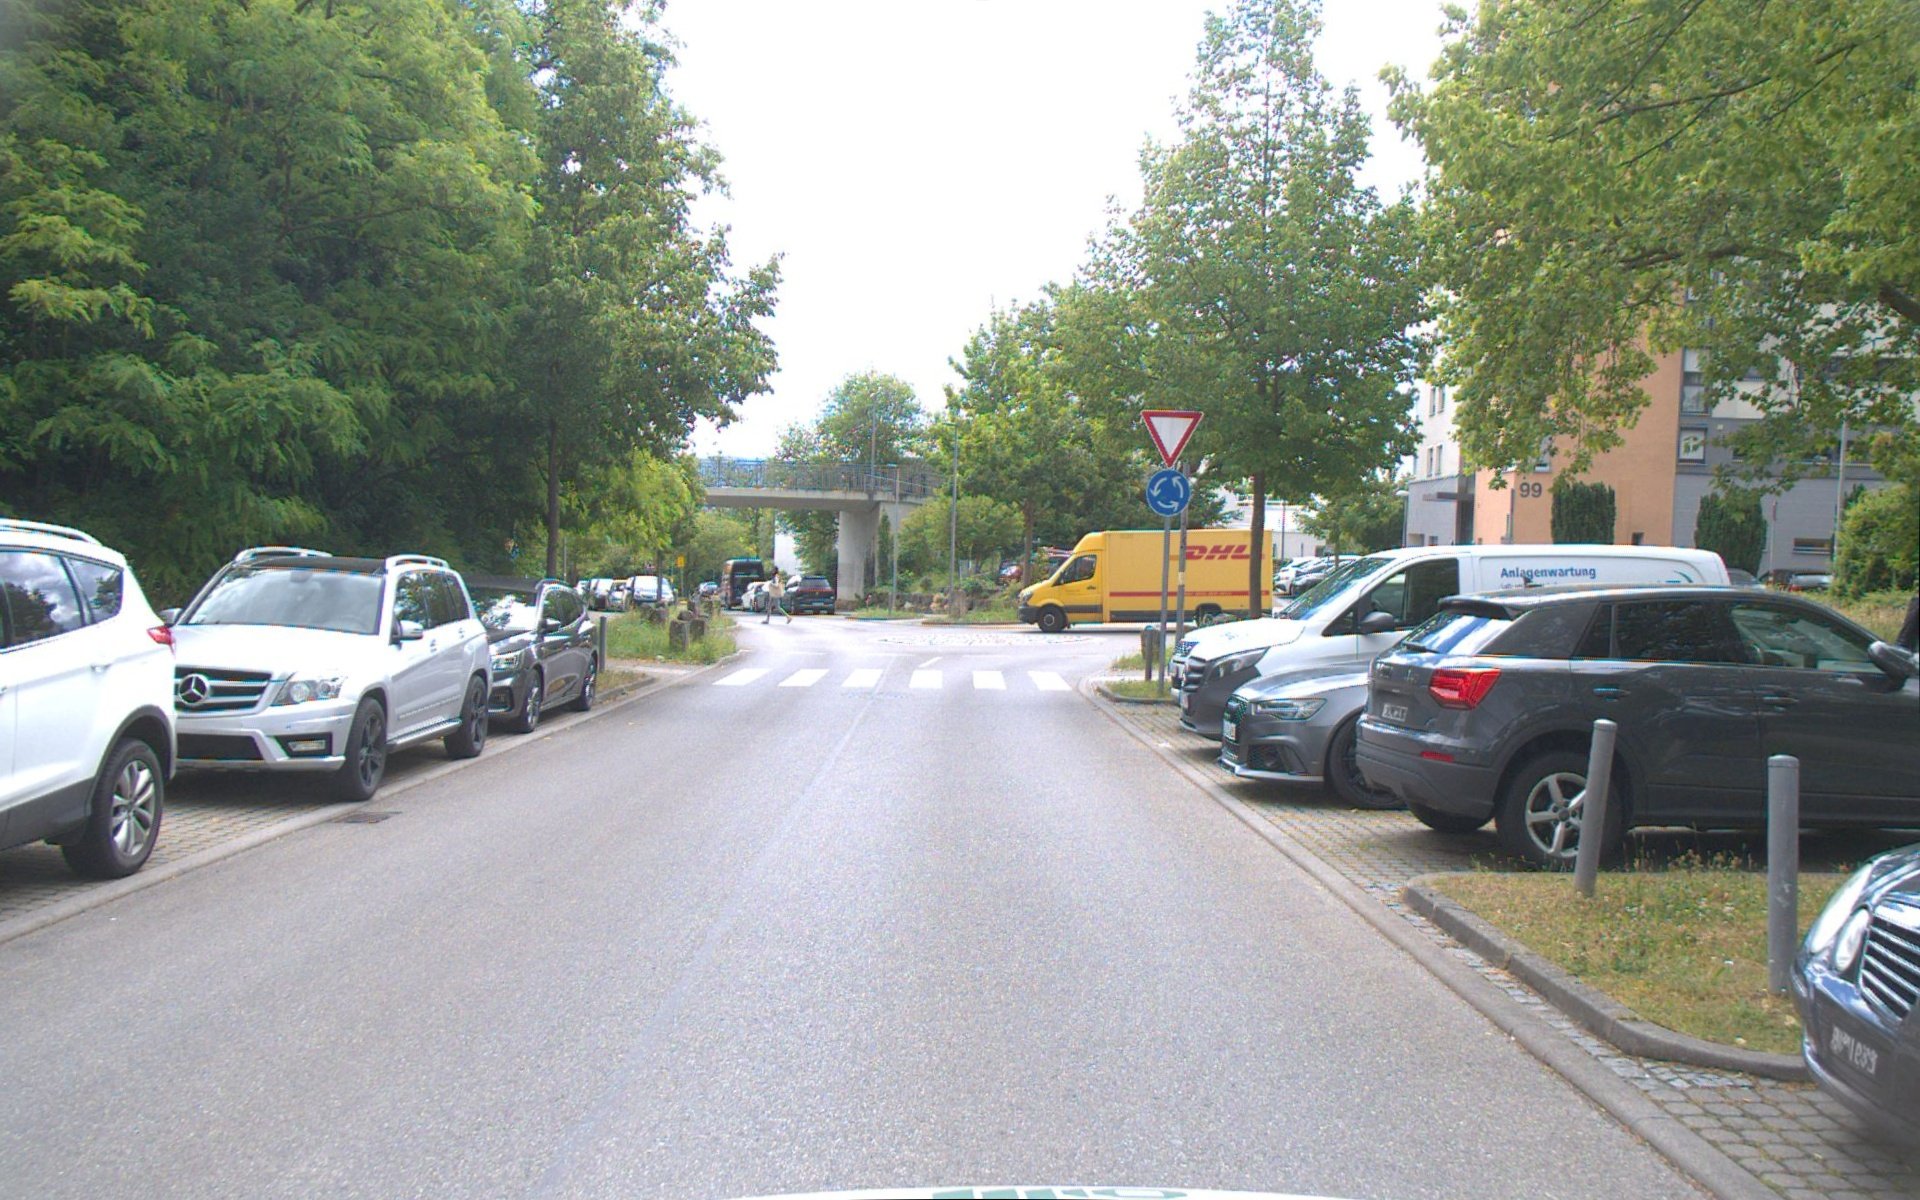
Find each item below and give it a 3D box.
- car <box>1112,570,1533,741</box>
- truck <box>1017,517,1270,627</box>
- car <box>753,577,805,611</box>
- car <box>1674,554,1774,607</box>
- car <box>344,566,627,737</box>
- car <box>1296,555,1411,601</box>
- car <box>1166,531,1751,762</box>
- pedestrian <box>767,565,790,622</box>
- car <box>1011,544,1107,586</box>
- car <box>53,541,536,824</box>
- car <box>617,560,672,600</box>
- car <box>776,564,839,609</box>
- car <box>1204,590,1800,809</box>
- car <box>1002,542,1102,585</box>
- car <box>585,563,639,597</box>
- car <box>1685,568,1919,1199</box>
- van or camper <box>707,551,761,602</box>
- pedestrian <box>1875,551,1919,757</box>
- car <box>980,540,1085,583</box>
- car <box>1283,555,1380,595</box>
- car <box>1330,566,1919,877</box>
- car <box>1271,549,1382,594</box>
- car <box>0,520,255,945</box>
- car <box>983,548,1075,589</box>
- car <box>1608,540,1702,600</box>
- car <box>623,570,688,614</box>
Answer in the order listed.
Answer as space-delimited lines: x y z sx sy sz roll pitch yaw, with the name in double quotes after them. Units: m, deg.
3.770 0.553 17.677 4.066 1.630 1.739 1 1 -2 "car"
5.042 -0.718 45.279 6.656 2.749 2.476 -1 -1 9 "truck"
-8.466 -0.296 77.197 1.672 1.523 4.099 0 0 -17 "car"
22.561 -0.590 48.977 1.601 1.507 3.780 0 1 7 "car"
-4.916 0.441 17.789 1.655 1.490 4.457 4 1 0 "car"
14.258 -0.811 60.141 3.955 1.544 1.757 2 1 10 "car"
4.326 0.370 14.842 4.677 1.863 1.842 -1 1 -2 "car"
-5.767 -0.214 52.568 0.645 1.751 0.739 1 1 -4 "pedestrian"
4.129 -1.481 69.244 3.904 1.641 1.945 2 1 3 "car"
-4.736 0.464 12.579 1.762 1.643 4.479 4 1 0 "car"
-12.634 -0.812 66.092 1.854 1.485 3.532 1 1 -16 "car"
-6.570 -0.537 70.935 1.785 1.708 4.347 0 -3 -18 "car"
3.800 0.665 12.083 3.746 1.395 1.843 -1 1 -1 "car"
3.426 -1.352 61.154 3.573 1.464 1.686 2 1 5 "car"
-16.334 -0.922 77.566 1.857 1.535 4.426 1 0 -20 "car"
4.391 0.692 3.968 4.485 1.518 1.950 0 0 -5 "car"
-12.047 -1.206 87.807 1.962 2.567 5.445 -2 0 -17 "van or camper"
8.164 0.443 13.796 0.675 1.685 0.600 1 1 -1 "pedestrian"
3.162 -1.674 71.810 4.448 1.697 1.945 2 1 3 "car"
15.648 -1.066 69.794 3.896 1.544 1.759 2 1 11 "car"
4.275 0.602 9.612 3.750 1.546 1.910 -1 1 -5 "car"
14.385 -1.121 65.031 4.032 1.621 1.694 2 1 4 "car"
-4.757 0.502 6.723 1.770 1.693 4.437 4 1 0 "car"
2.819 -1.284 66.981 3.573 1.524 1.686 2 1 5 "car"
20.481 -0.883 48.877 1.535 1.687 3.780 -1 1 7 "car"
-11.369 -0.312 61.569 1.759 1.493 3.978 1 1 -19 "car"
